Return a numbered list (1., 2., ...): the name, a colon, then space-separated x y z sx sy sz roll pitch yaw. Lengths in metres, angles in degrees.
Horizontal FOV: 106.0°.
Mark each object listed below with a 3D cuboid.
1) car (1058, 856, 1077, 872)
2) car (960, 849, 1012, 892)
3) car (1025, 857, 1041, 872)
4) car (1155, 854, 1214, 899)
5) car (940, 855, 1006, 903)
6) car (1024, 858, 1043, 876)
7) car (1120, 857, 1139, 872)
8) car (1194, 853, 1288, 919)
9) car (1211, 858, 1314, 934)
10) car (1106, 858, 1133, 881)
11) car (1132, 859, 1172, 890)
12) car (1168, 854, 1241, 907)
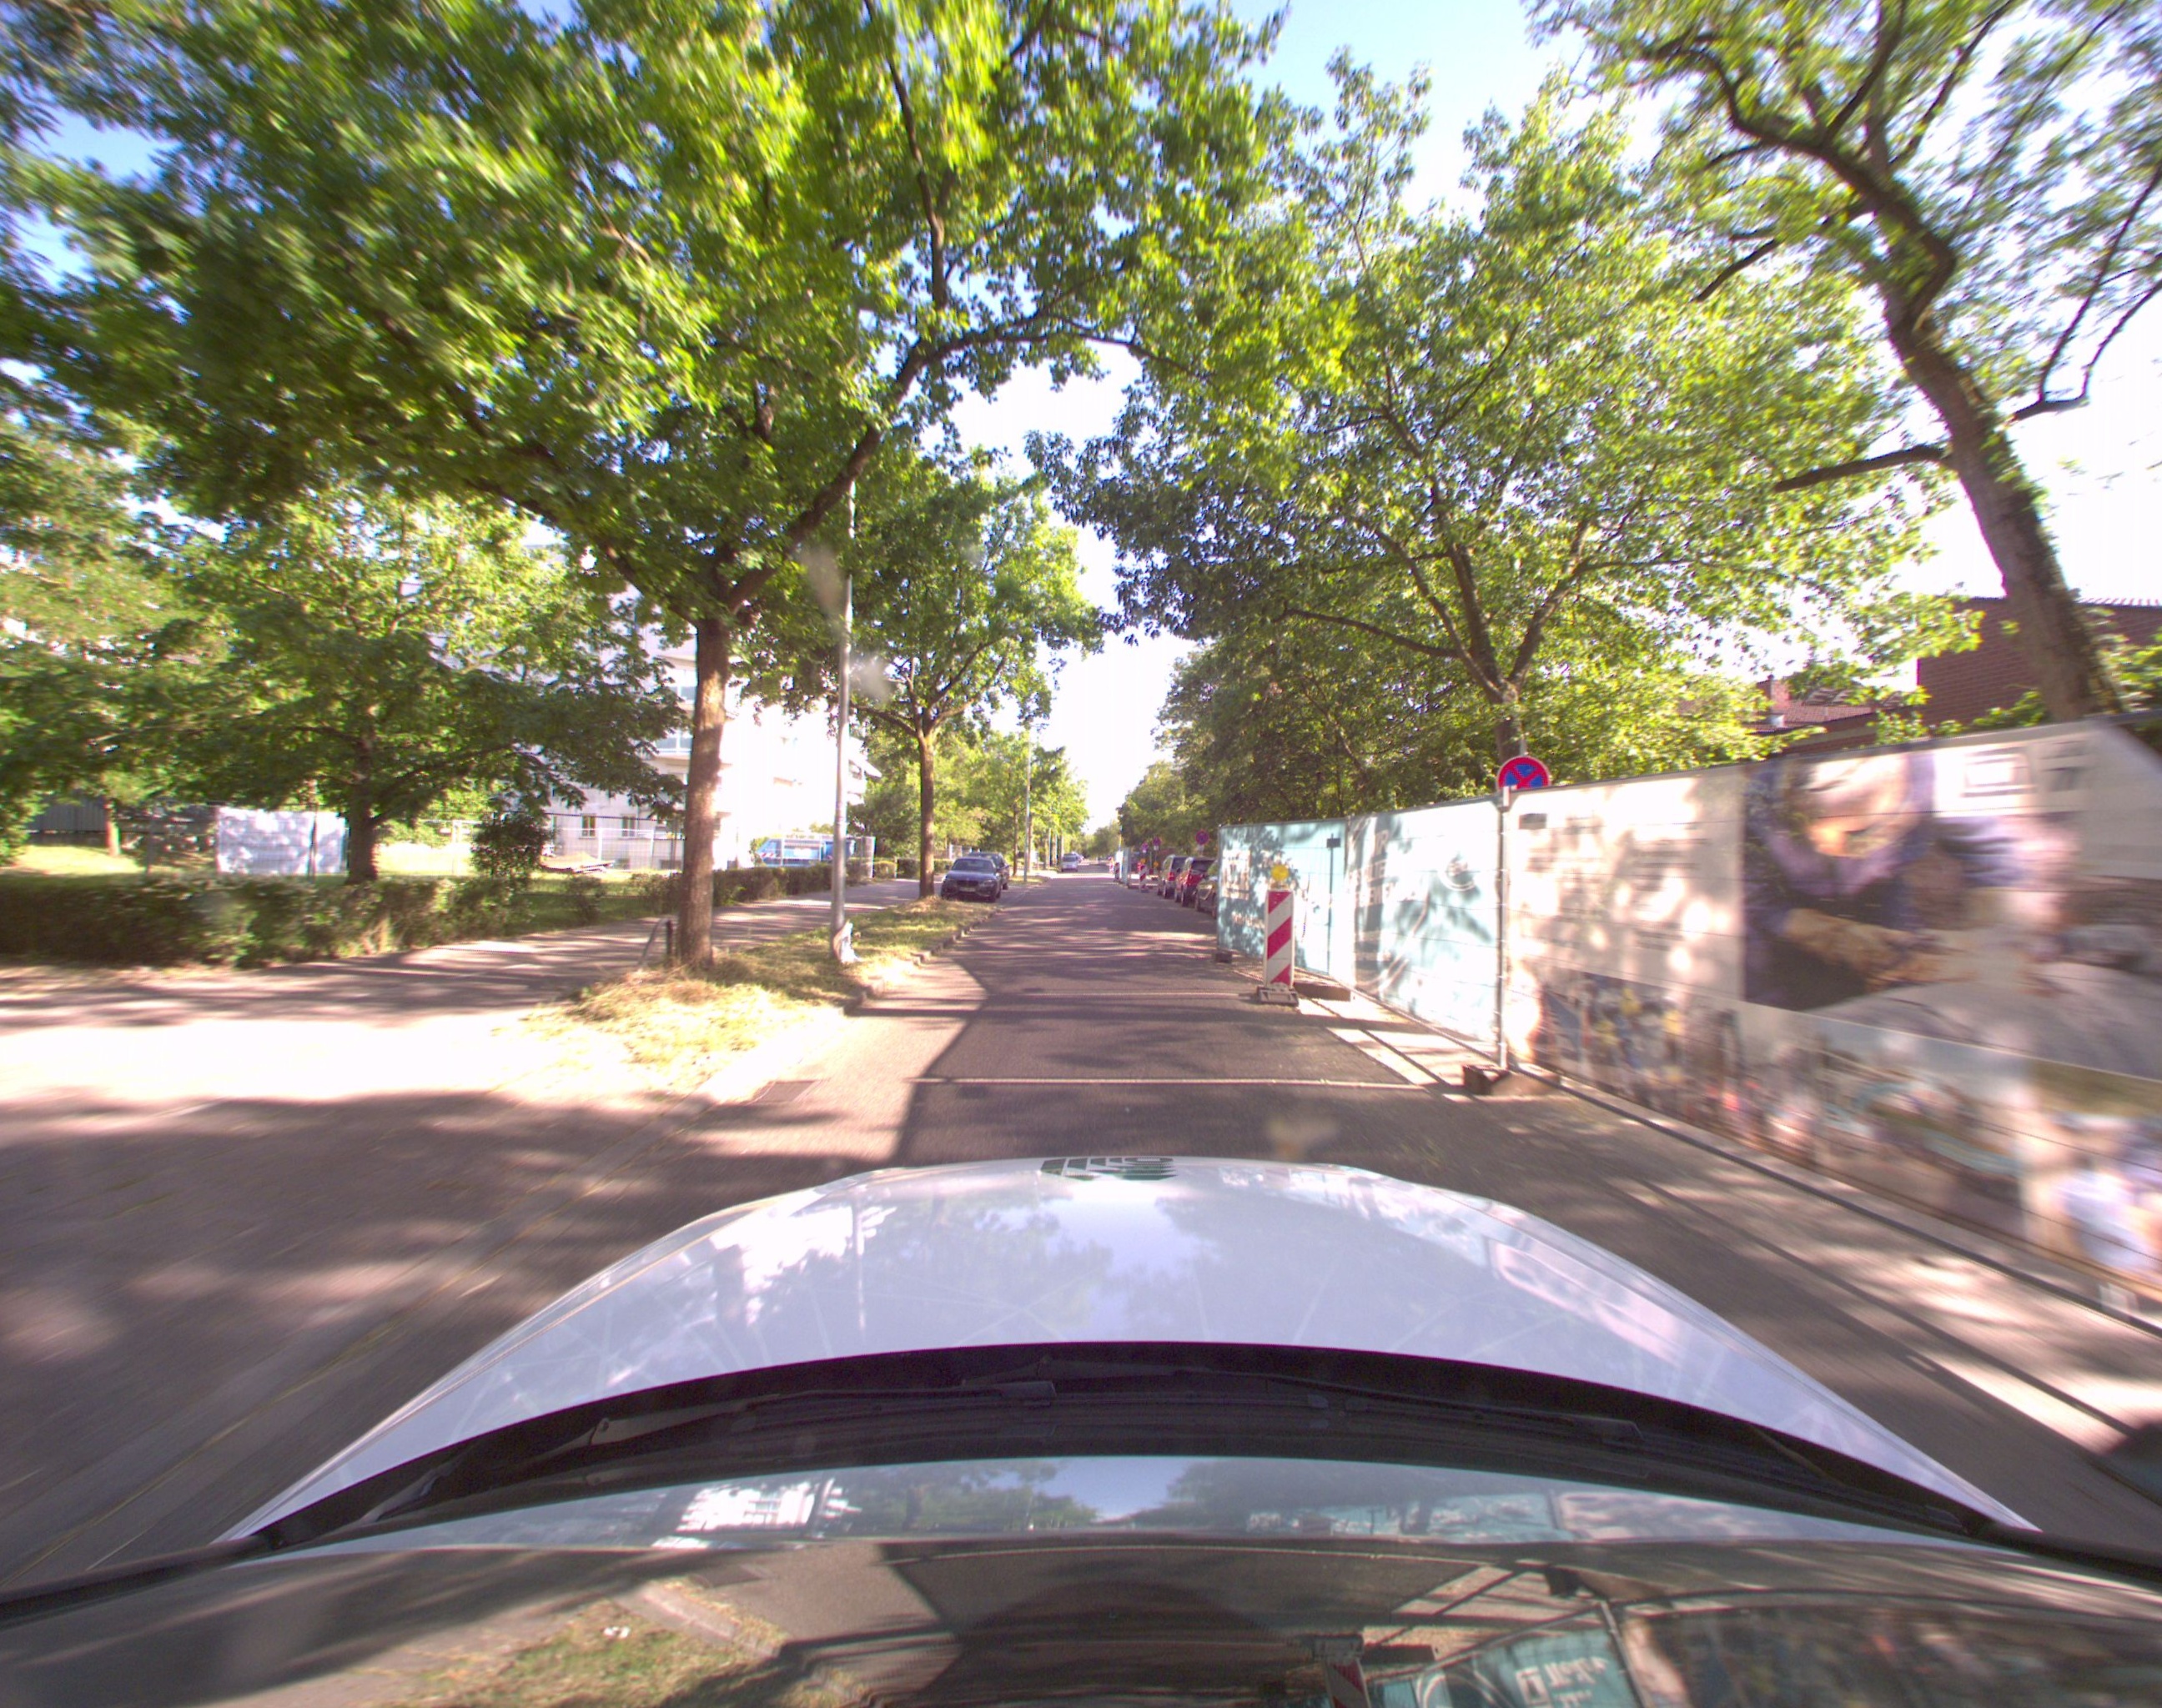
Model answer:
1. car: -1.406 1.021 84.323 1.707 1.585 3.995 2 -1 -3
2. car: -3.983 0.664 34.524 1.683 1.675 3.502 1 0 1
3. car: -4.427 0.937 74.863 1.358 1.302 3.478 2 -1 -2
4. car: 3.915 0.810 31.330 1.748 1.595 3.655 1 0 -1
5. car: -3.539 0.792 27.295 1.746 1.478 3.834 1 0 -1
6. car: -3.617 0.970 62.655 1.358 1.302 3.478 2 -1 -2
7. car: 4.758 1.006 80.246 1.787 1.409 4.002 1 0 2
8. car: 4.202 0.799 21.906 1.748 1.595 3.655 1 0 -1
9. car: 3.827 0.838 17.595 1.496 1.478 3.056 1 0 -1
10. car: 2.337 0.959 50.180 1.358 1.302 3.478 2 -1 -2
11. car: 3.189 0.908 37.226 1.358 1.302 3.478 2 -1 -2
12. car: 3.956 0.805 26.652 1.748 1.595 3.655 1 0 -1
